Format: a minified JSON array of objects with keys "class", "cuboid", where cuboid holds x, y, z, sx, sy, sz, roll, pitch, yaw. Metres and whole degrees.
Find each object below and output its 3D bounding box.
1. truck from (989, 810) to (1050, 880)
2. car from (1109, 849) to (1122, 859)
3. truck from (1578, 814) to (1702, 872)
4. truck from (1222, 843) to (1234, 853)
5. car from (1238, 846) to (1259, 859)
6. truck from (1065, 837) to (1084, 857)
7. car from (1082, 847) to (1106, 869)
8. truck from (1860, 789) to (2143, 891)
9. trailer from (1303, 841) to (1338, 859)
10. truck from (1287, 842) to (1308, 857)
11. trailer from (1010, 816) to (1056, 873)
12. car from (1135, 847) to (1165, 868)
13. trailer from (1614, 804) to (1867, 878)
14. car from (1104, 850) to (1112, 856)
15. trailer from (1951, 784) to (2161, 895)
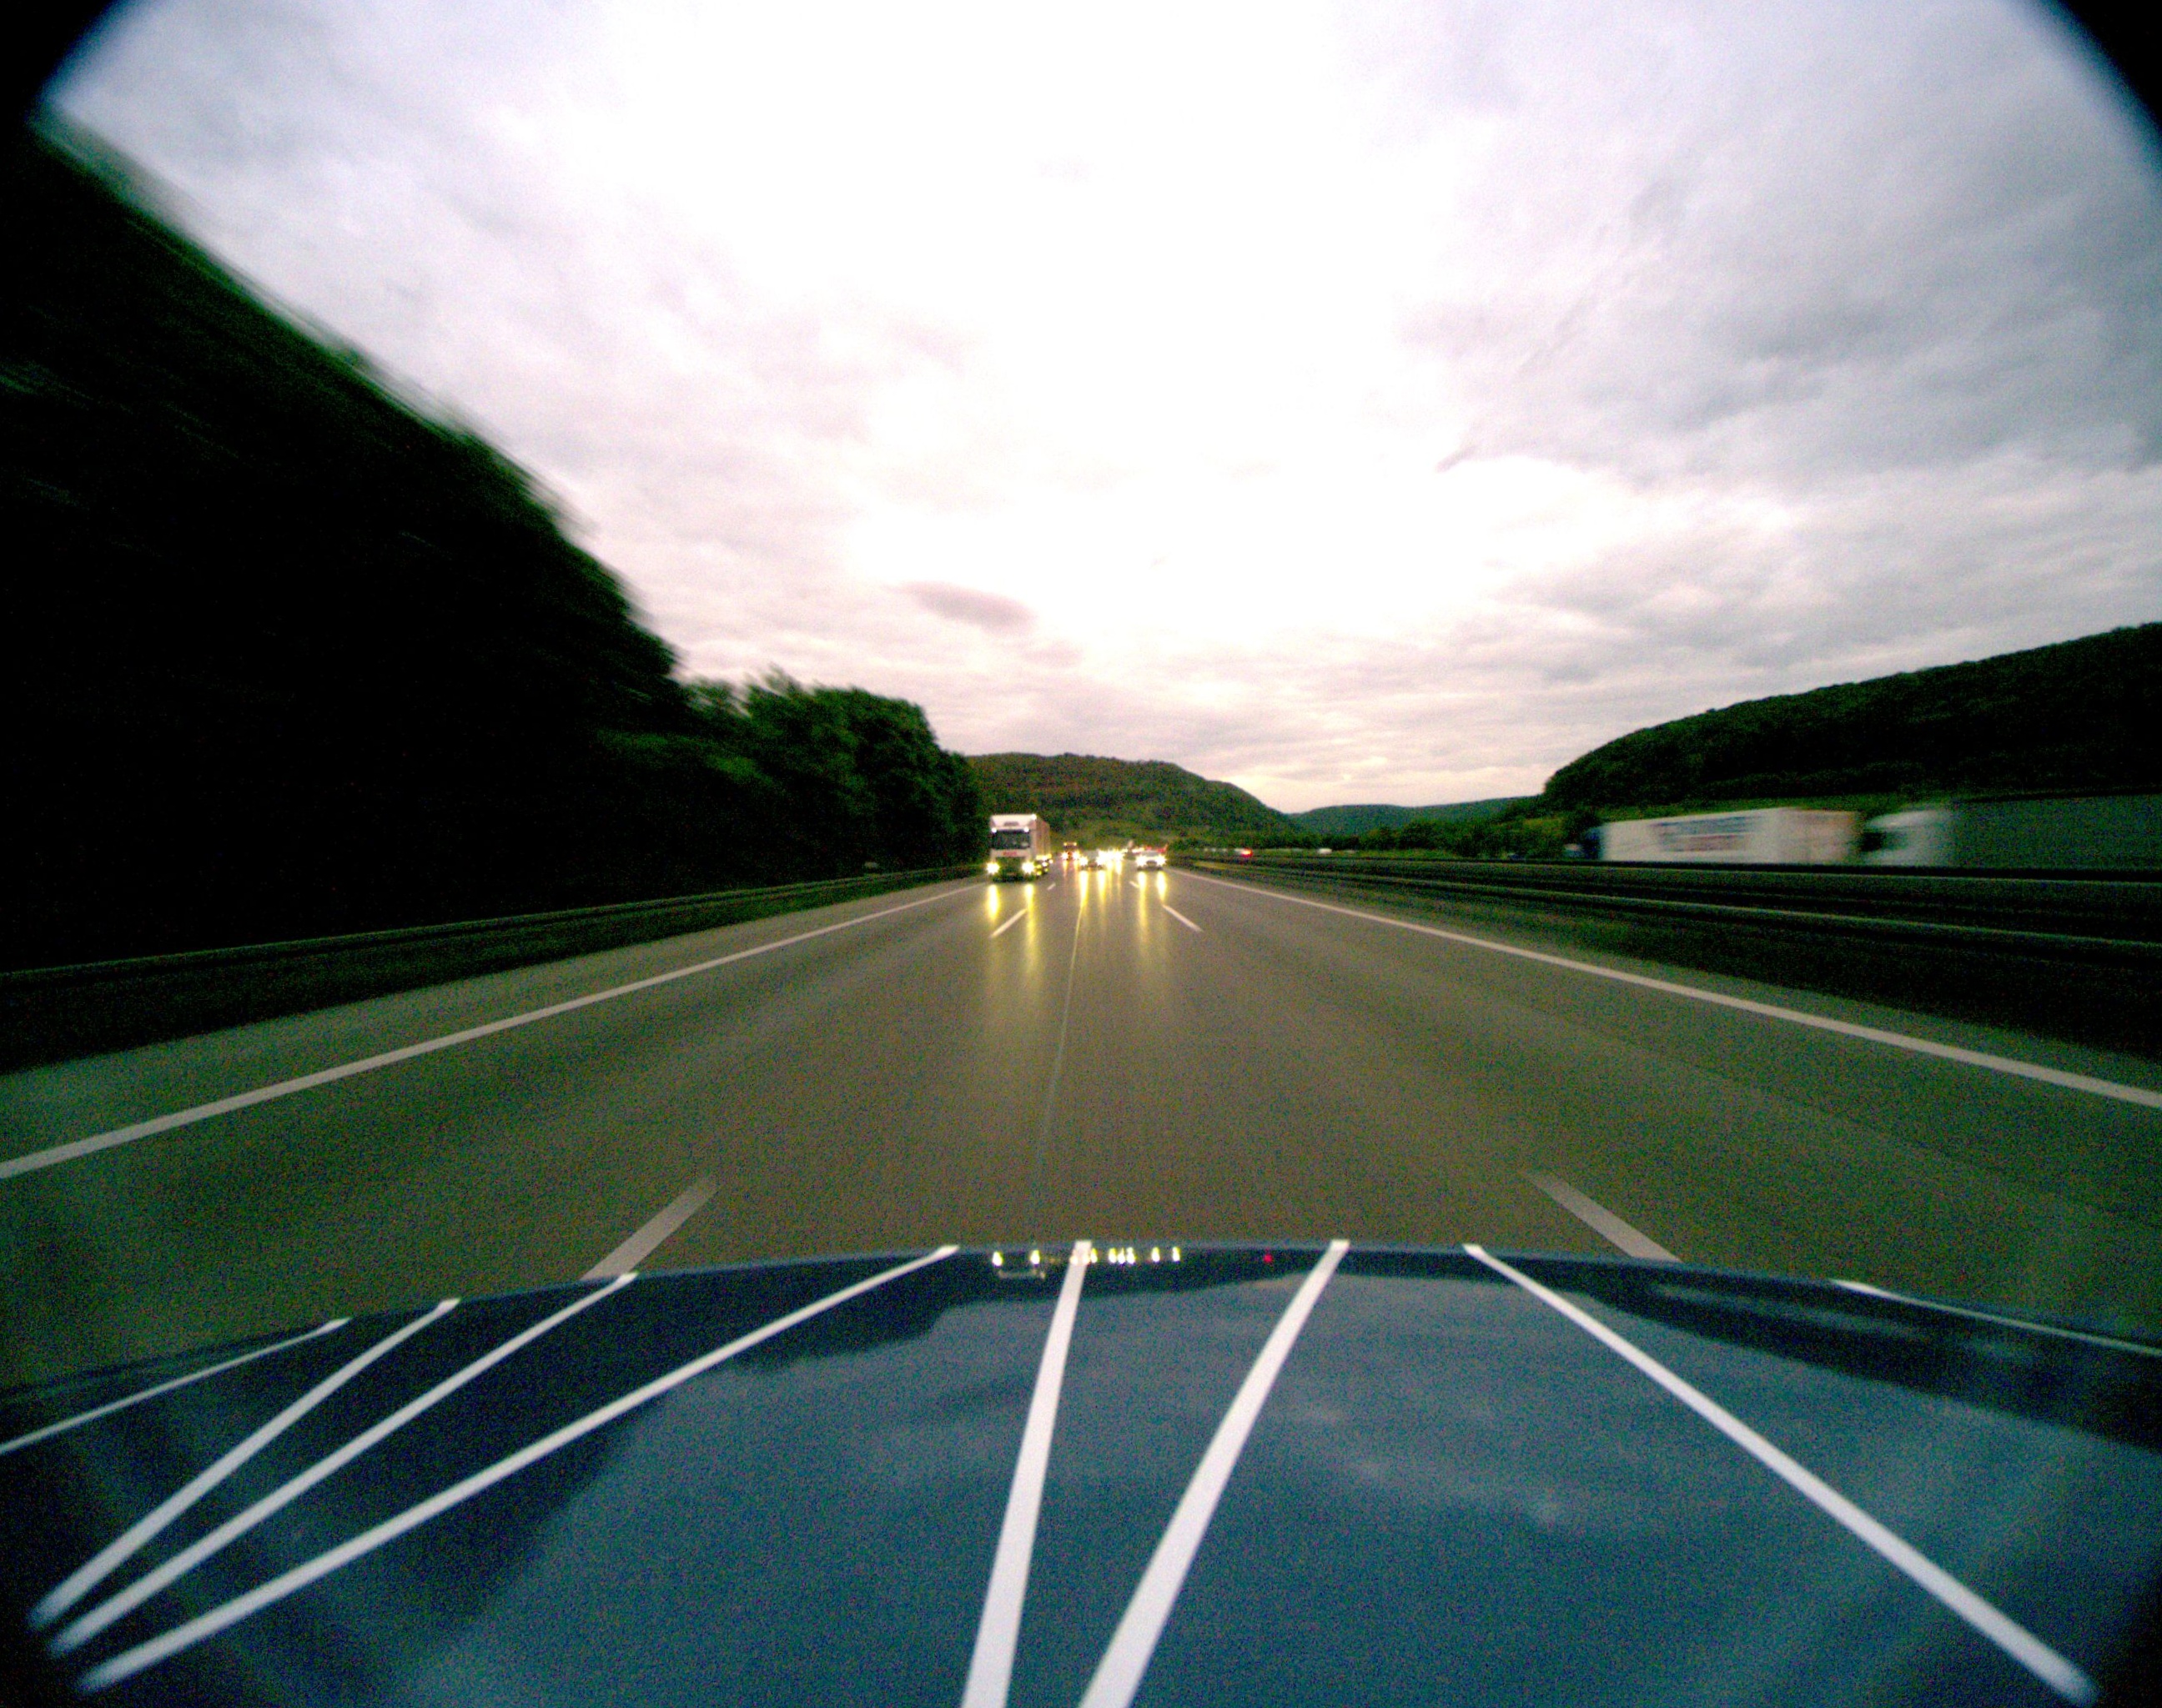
[{"class":"truck","cuboid":[-3.558,-0.558,46.396,2.623,3.805,10.385,-1,1,1]},{"class":"car","cuboid":[5.883,0.015,129.970,1.894,1.650,5.638,-2,1,1]},{"class":"truck","cuboid":[35.515,-0.661,48.685,2.880,3.356,7.175,-1,0,2]},{"class":"truck","cuboid":[46.051,-1.930,238.111,2.874,3.071,5.892,0,1,1]},{"class":"car","cuboid":[22.197,-0.178,100.739,1.998,1.584,4.741,-1,0,3]},{"class":"truck","cuboid":[-1.227,-1.414,152.957,3.119,3.850,14.162,2,1,1]},{"class":"car","cuboid":[1.080,0.275,62.511,1.927,1.674,4.806,0,1,1]},{"class":"truck","cuboid":[34.813,-0.502,29.250,2.880,3.405,6.726,-1,0,2]},{"class":"trailer","cuboid":[43.605,-0.729,138.933,2.874,3.070,11.157,0,1,0]},{"class":"truck","cuboid":[44.025,-0.920,154.627,2.874,3.071,5.304,0,1,1]},{"class":"trailer","cuboid":[-3.398,-0.697,56.035,2.623,3.805,8.877,-1,1,1]},{"class":"car","cuboid":[5.310,0.249,58.889,1.794,1.492,5.037,-2,0,0]},{"class":"trailer","cuboid":[35.237,-0.643,41.848,2.880,3.405,13.225,-1,0,2]},{"class":"car","cuboid":[6.720,-0.194,191.380,1.898,1.503,4.000,-1,1,1]},{"class":"trailer","cuboid":[34.586,-0.464,22.305,2.880,3.405,13.570,-1,0,2]}]
